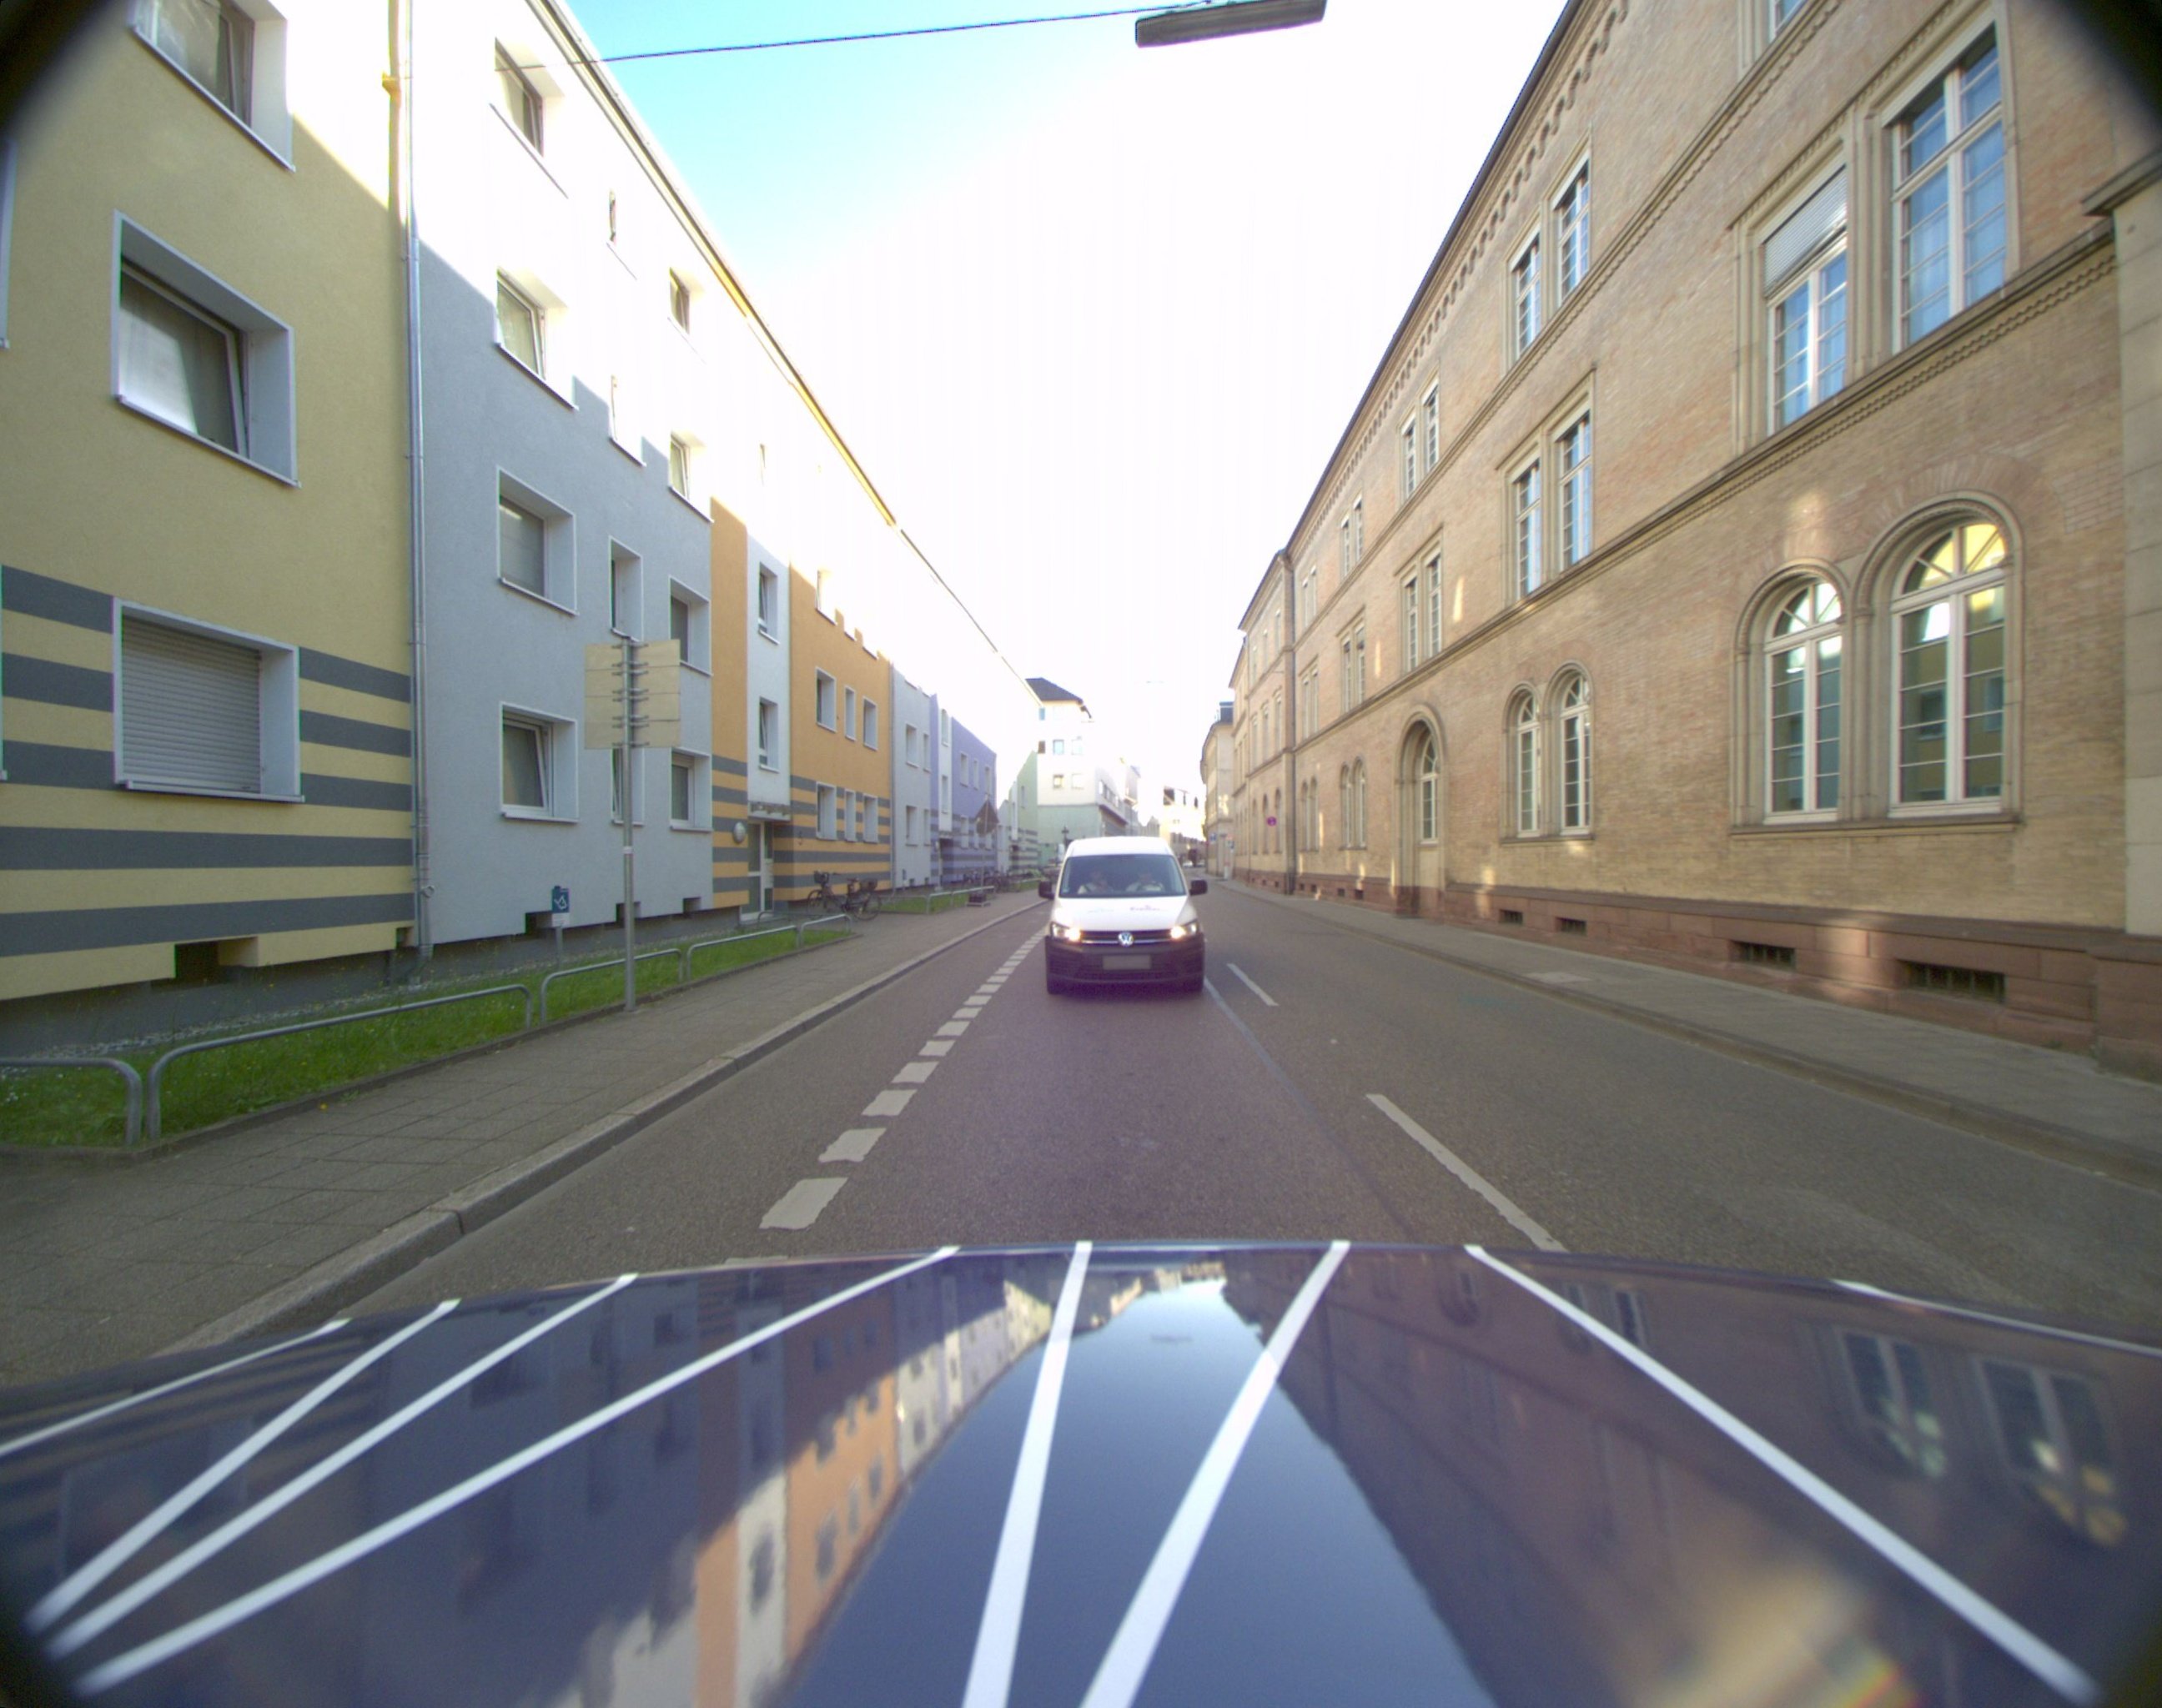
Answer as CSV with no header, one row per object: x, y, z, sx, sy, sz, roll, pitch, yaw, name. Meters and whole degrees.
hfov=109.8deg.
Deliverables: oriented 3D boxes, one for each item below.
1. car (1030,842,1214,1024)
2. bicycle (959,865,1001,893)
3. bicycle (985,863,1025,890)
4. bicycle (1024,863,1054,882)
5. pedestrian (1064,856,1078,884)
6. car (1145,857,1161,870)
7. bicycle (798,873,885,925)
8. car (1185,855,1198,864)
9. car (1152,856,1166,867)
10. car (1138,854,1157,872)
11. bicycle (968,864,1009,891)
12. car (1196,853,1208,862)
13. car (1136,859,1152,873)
0.446,0.740,10.080,1.769,1.761,5.331,-1,1,1,car
-4.233,1.036,31.867,1.676,1.145,0.484,0,0,4,bicycle
-3.370,0.992,33.706,1.676,1.145,0.484,0,0,4,bicycle
-2.512,1.139,46.078,1.779,1.145,0.484,0,0,0,bicycle
-0.568,0.922,44.314,0.705,1.627,0.833,2,2,5,pedestrian
10.683,1.402,113.027,1.997,1.643,4.231,-2,1,10,car
-5.383,1.007,17.131,1.780,1.116,0.484,0,0,-5,bicycle
22.117,1.040,152.047,1.996,1.643,4.233,-2,1,17,car
12.654,1.156,122.726,1.997,1.643,4.231,-2,1,9,car
9.420,1.211,107.115,2.103,2.264,5.506,-2,1,11,car
-4.029,1.009,33.161,1.676,1.145,0.484,0,0,4,bicycle
26.101,0.752,163.778,1.996,1.643,4.233,-2,1,17,car
8.385,1.571,100.979,1.998,1.643,4.230,-2,1,6,car
